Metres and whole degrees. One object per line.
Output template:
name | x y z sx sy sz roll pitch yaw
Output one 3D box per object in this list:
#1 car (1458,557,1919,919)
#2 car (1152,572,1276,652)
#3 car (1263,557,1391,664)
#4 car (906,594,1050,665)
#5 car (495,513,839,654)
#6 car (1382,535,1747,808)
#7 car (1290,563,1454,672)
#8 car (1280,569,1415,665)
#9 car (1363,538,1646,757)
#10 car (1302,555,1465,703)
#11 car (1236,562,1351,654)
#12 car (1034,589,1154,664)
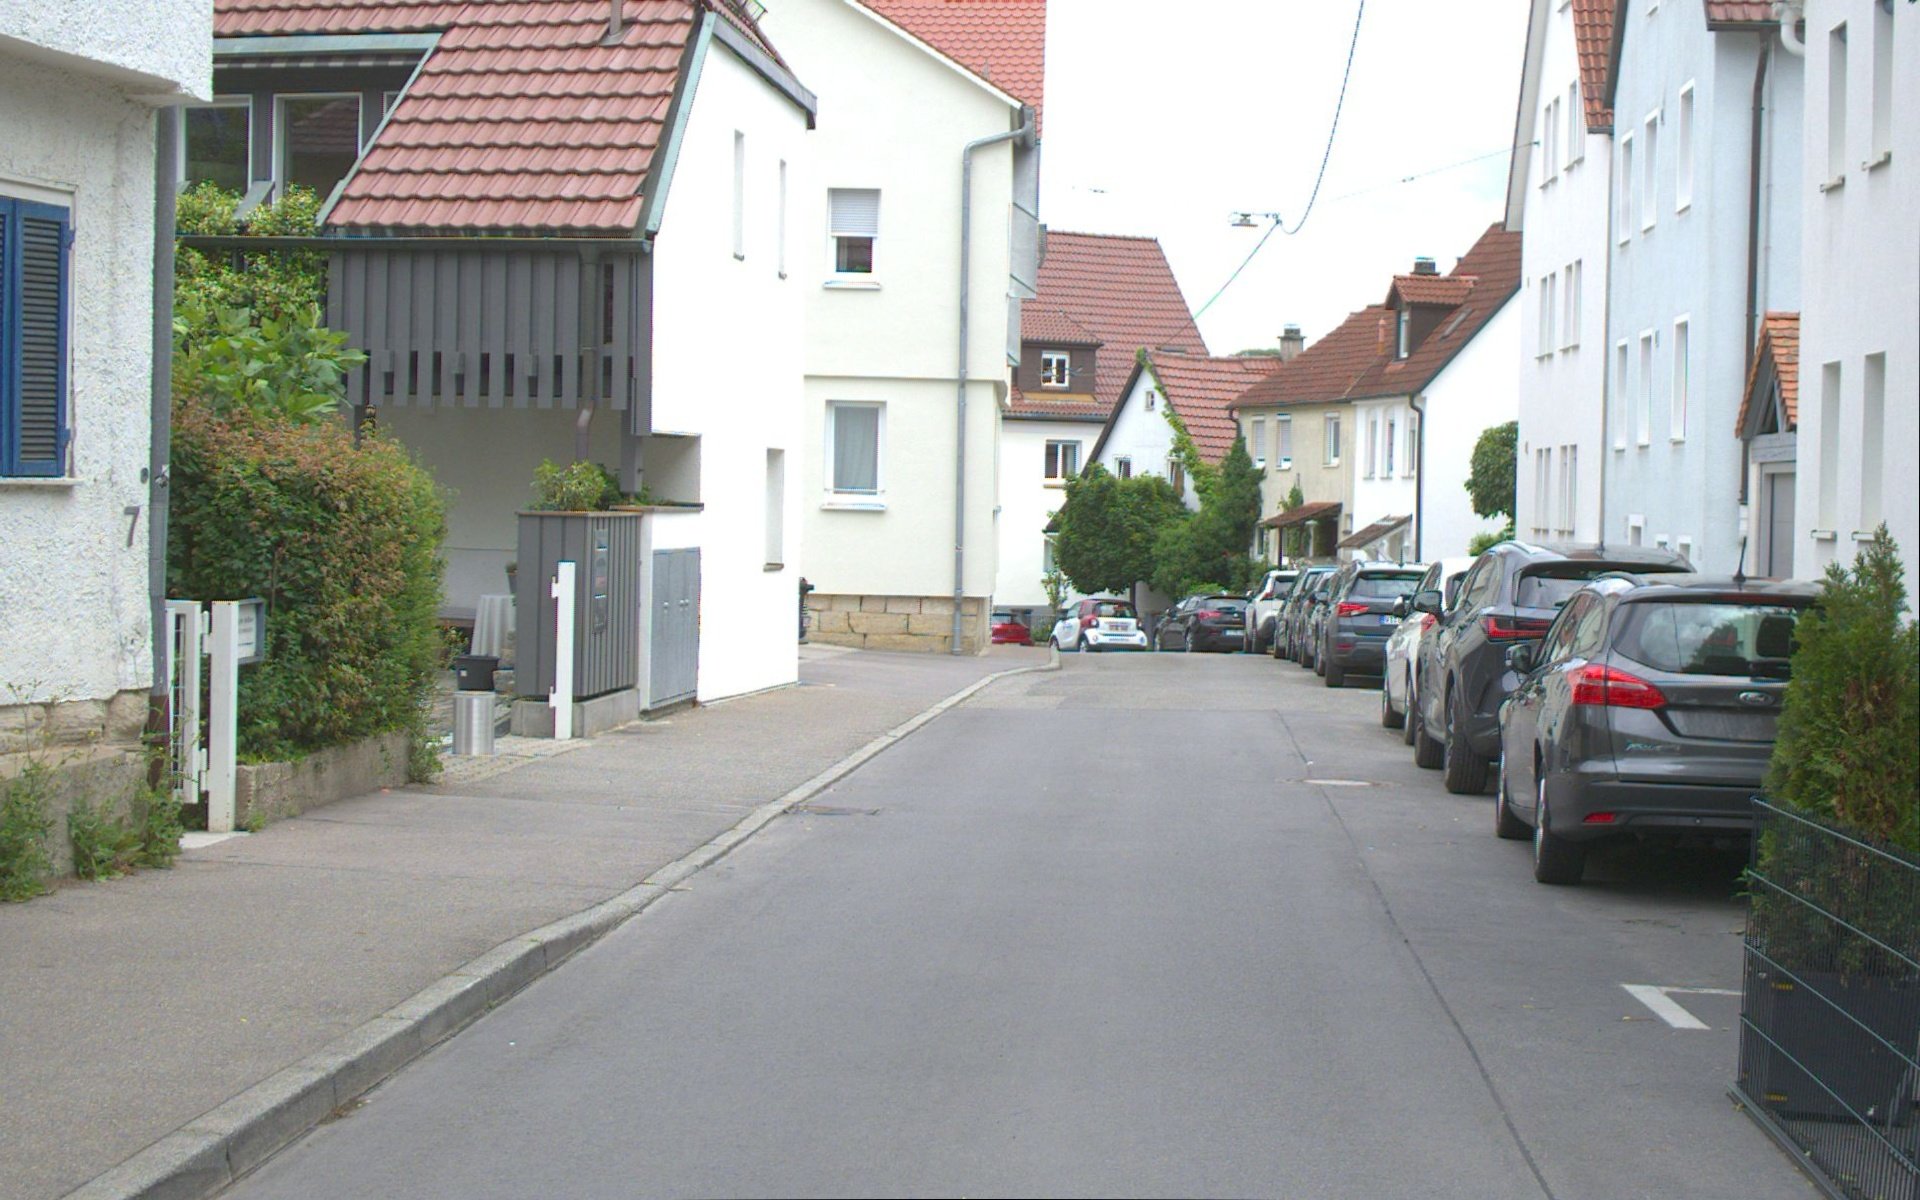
car | 3.703 0.579 17.517 1.948 1.502 4.819 2 1 5
car | 5.778 0.303 78.630 1.993 1.707 4.000 1 -2 -8
car | 6.123 0.179 57.771 1.736 1.605 4.000 4 0 2
car | 0.464 0.803 93.402 1.994 1.678 4.000 -5 0 -31
car | -3.562 -0.186 42.220 3.732 1.407 2.119 4 0 9
car | 4.016 0.412 23.607 1.863 1.627 4.901 2 1 3
car | 5.605 0.219 47.221 1.918 1.405 4.655 0 0 3
car | 5.878 0.267 52.557 1.797 1.347 4.074 2 0 3
car | 4.541 0.327 29.352 1.994 1.610 4.878 3 1 5
car | 5.156 0.307 42.305 1.754 1.622 4.534 3 1 5
car | 6.548 0.173 67.795 1.873 1.707 4.147 2 0 1
car | 3.404 0.658 87.775 1.962 1.707 4.001 2 1 -14
